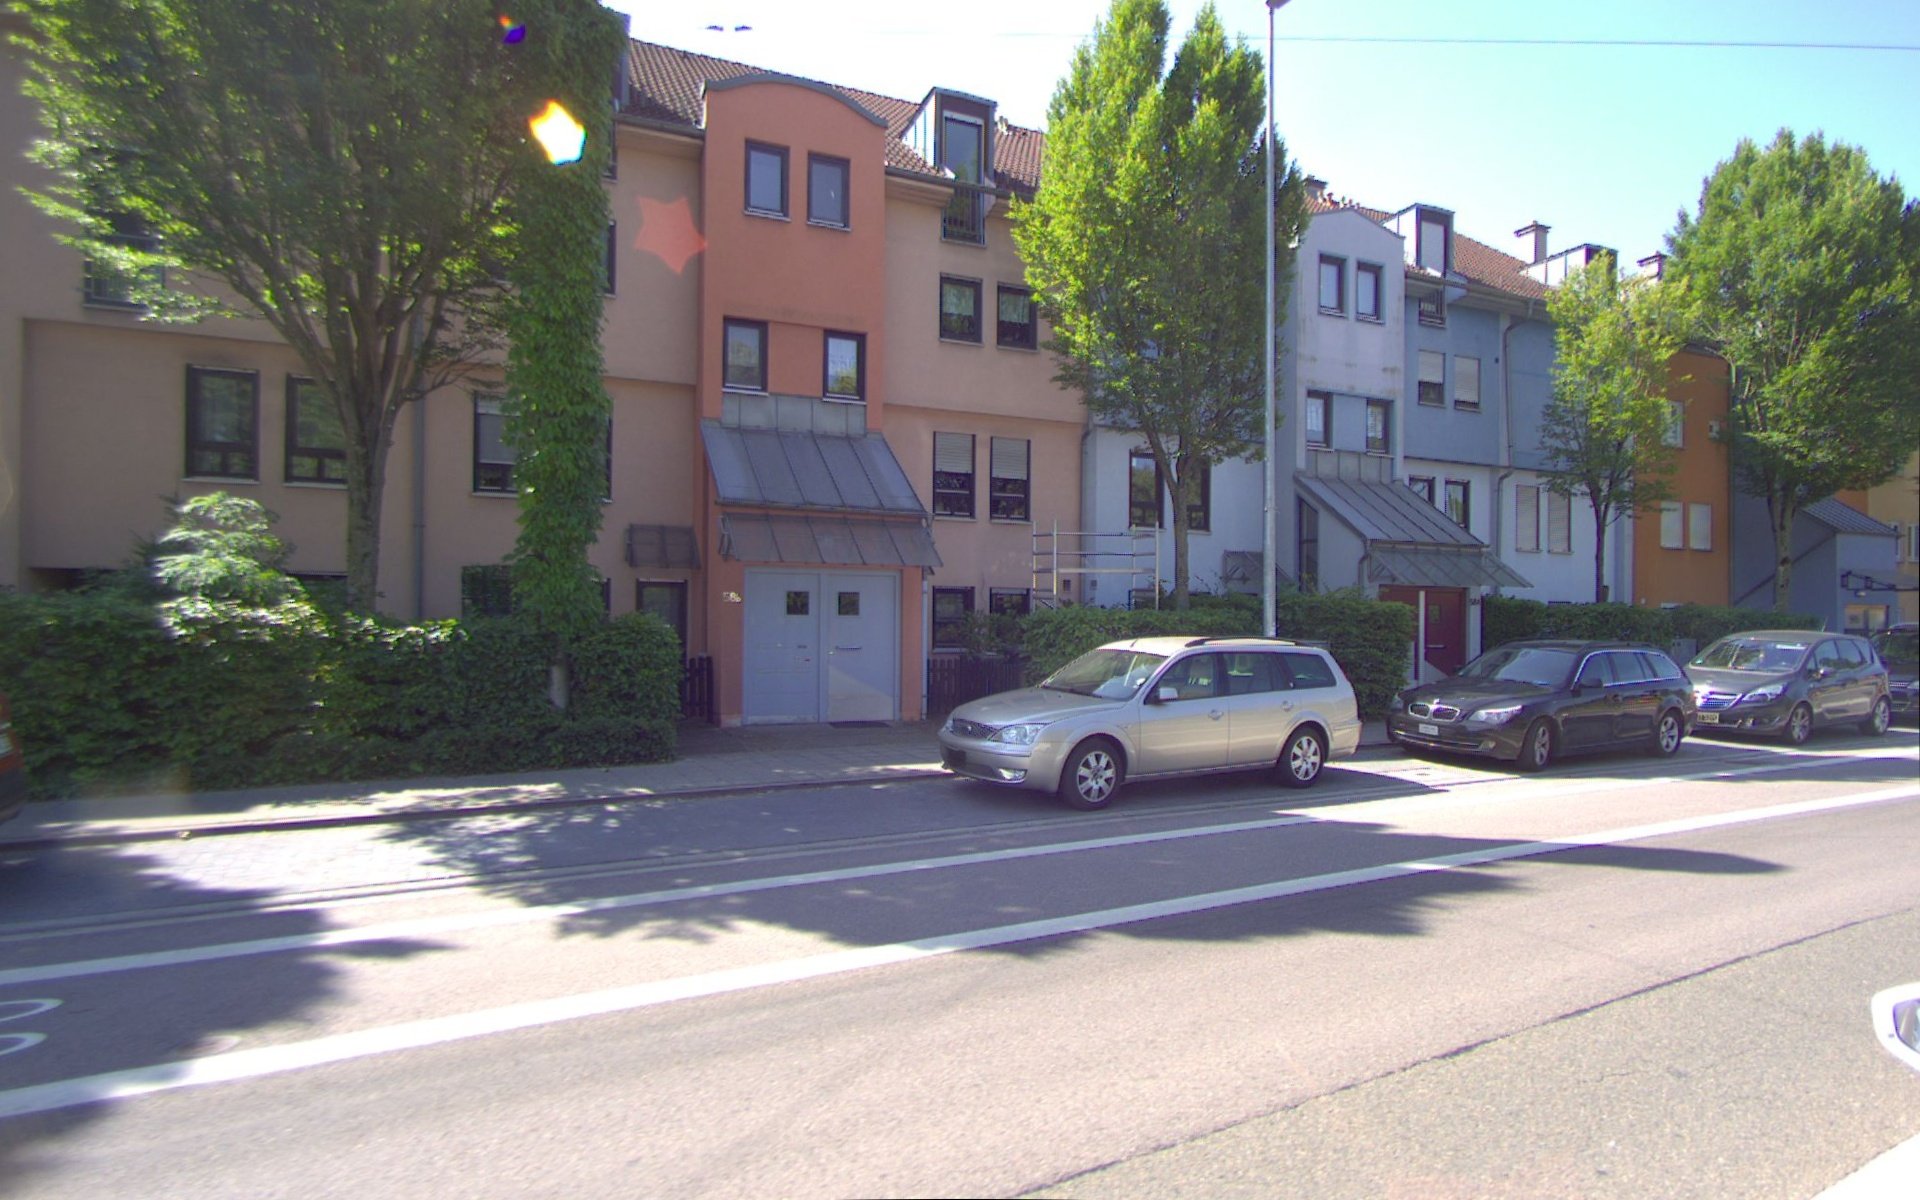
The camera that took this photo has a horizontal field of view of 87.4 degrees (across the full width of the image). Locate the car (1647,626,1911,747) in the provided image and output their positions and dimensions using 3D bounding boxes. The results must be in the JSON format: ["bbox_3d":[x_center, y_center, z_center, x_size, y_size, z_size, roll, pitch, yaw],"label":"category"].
[{"bbox_3d":[12.983,1.276,15.884,4.258,1.647,1.710,1,0,-28],"label":"car"}]

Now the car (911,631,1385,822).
[{"bbox_3d":[2.036,1.127,10.278,4.802,1.503,1.771,2,0,-31],"label":"car"}]

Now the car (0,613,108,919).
[{"bbox_3d":[-7.182,0.847,4.959,4.269,1.572,1.722,1,0,-31],"label":"car"}]

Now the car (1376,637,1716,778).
[{"bbox_3d":[7.742,1.281,13.158,4.658,1.494,1.715,1,0,-29],"label":"car"}]

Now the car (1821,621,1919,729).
[{"bbox_3d":[17.892,1.312,18.297,4.810,1.746,1.762,1,1,-29],"label":"car"}]
